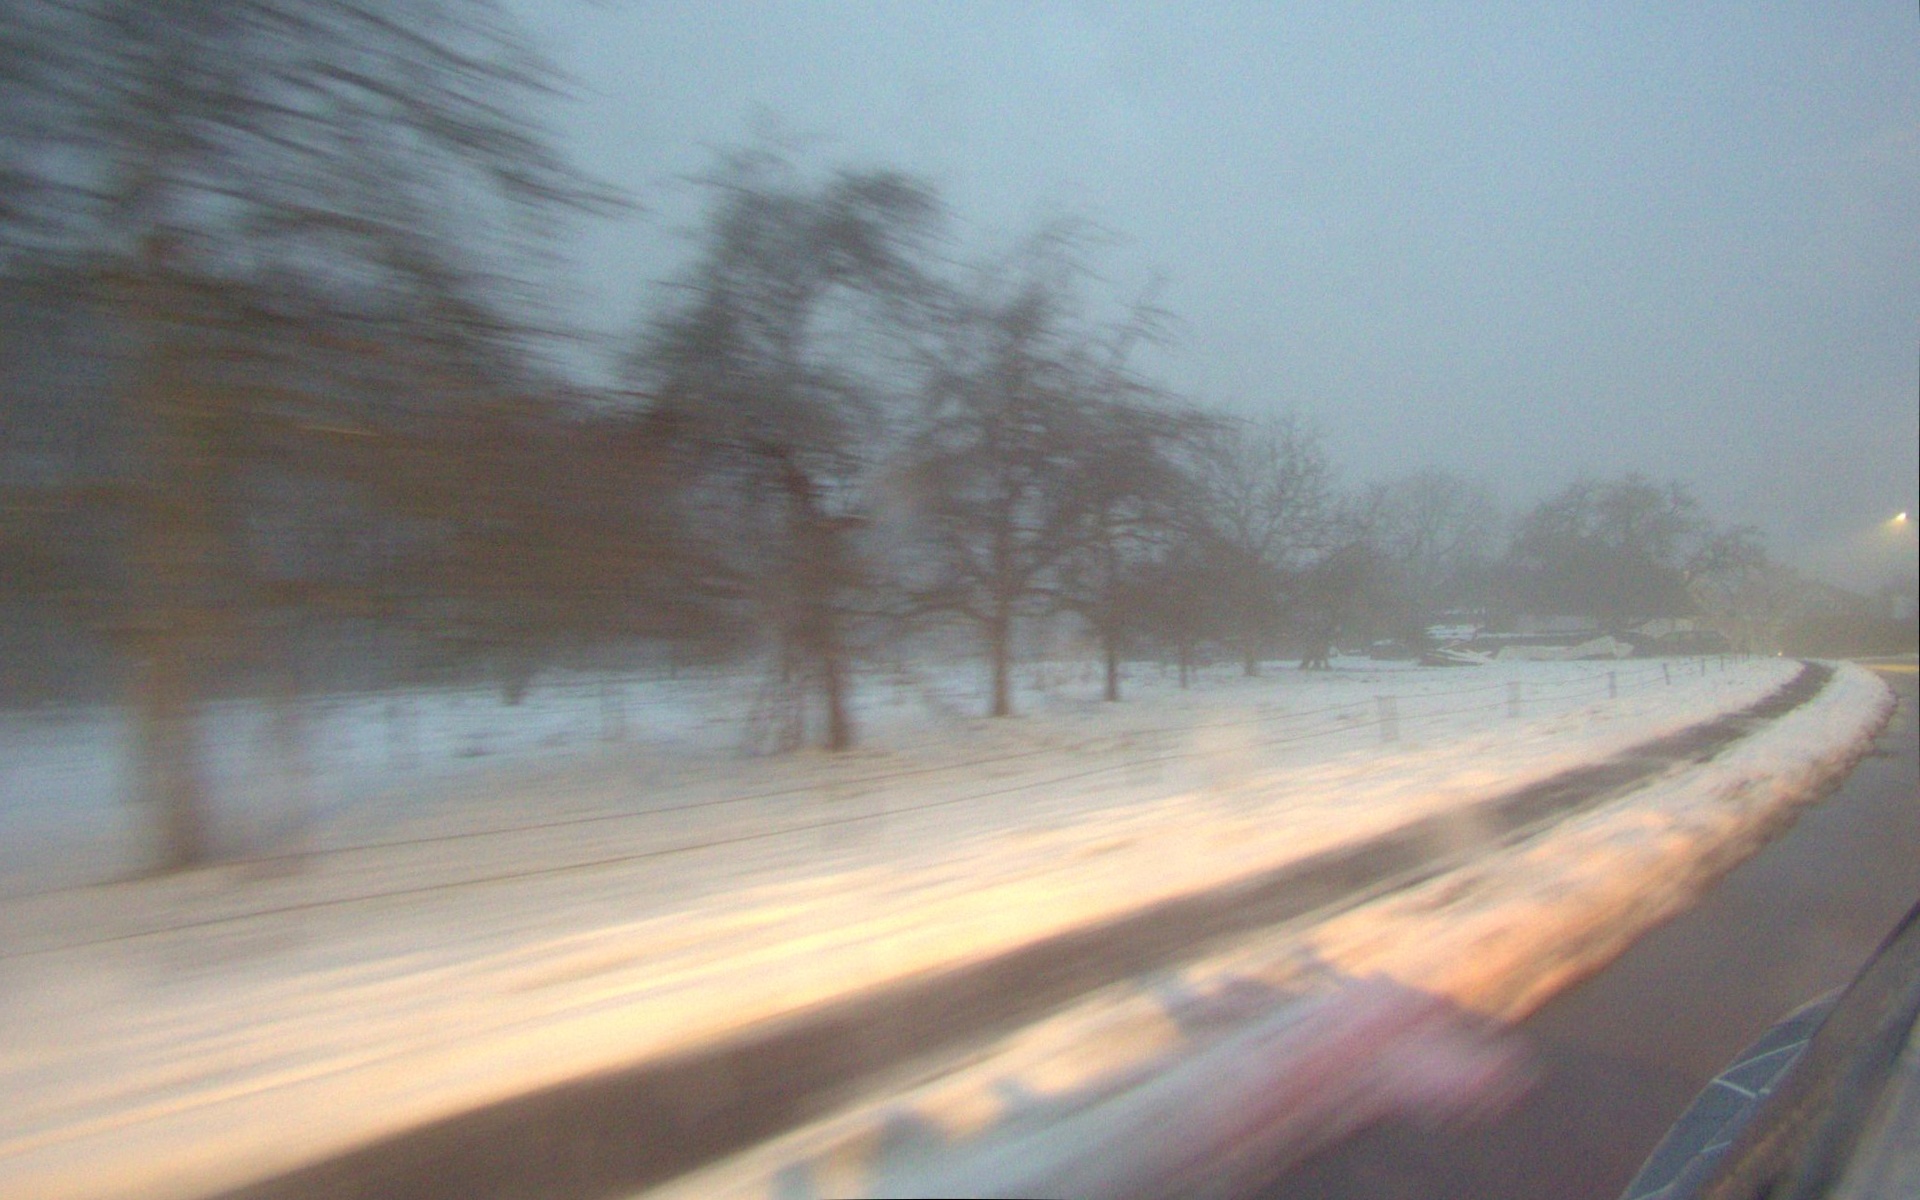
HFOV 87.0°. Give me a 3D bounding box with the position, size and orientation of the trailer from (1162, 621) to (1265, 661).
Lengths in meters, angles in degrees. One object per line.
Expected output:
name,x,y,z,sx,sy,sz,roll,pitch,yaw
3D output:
trailer,12.960,2.116,51.852,4.720,1.968,2.198,-2,-4,33

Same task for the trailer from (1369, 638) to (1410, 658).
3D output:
trailer,23.971,2.685,56.426,1.832,0.958,3.627,2,-1,27

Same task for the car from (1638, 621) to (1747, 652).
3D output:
car,38.112,1.934,52.731,4.437,1.400,2.008,-5,-5,37
